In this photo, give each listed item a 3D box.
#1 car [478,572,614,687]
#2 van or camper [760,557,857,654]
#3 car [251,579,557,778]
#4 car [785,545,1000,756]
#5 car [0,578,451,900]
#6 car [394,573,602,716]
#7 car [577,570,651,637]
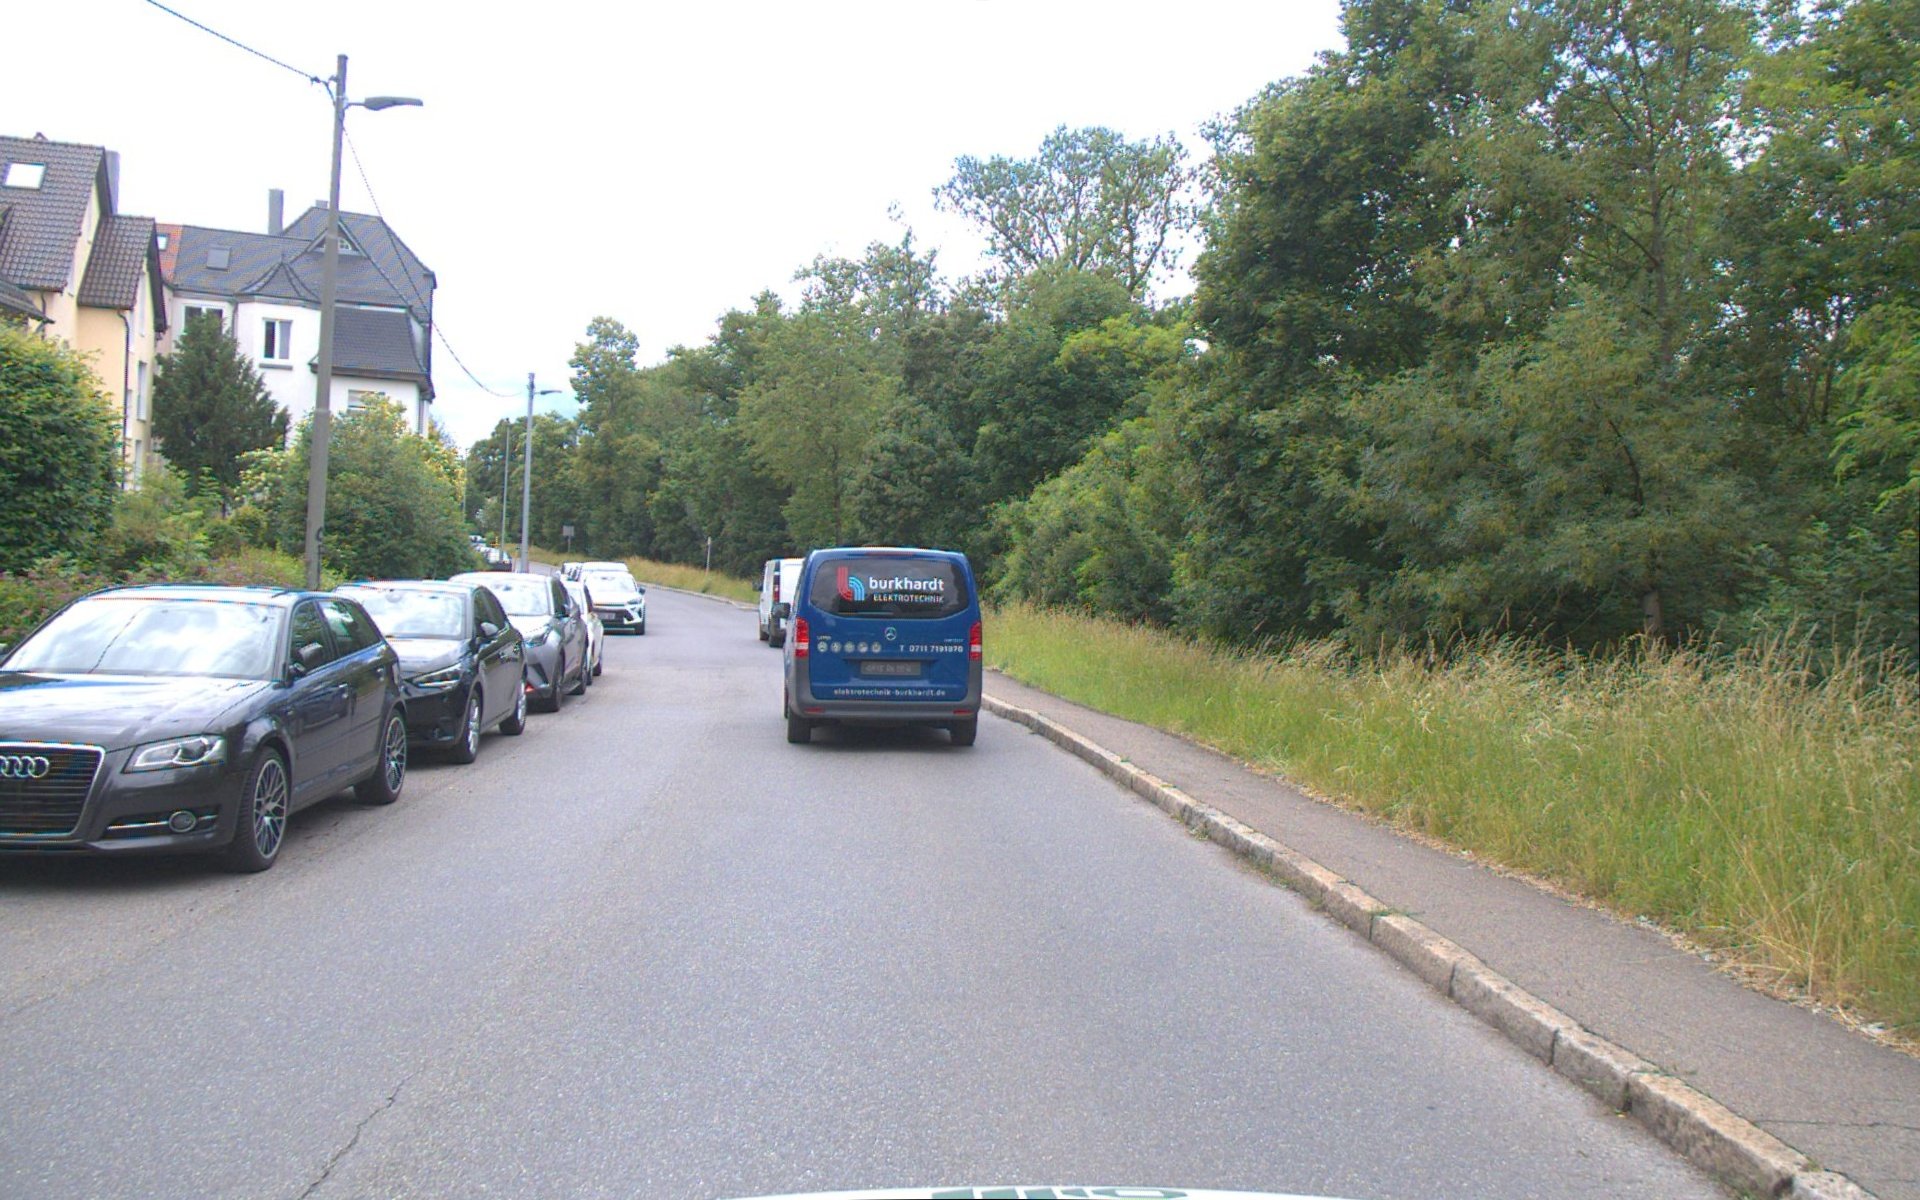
[{"bbox_3d":[-6.107,0.384,24.748,1.593,1.506,3.919,3,0,-10],"label":"car"},{"bbox_3d":[-3.561,0.073,38.116,1.981,1.991,4.889,3,1,-7],"label":"van or camper"},{"bbox_3d":[-4.735,0.580,14.698,1.617,1.467,4.327,2,0,-6],"label":"car"},{"bbox_3d":[-0.832,0.398,17.157,1.877,1.869,4.288,1,2,-7],"label":"car"},{"bbox_3d":[-4.387,0.617,9.761,1.701,1.443,4.499,1,0,-5],"label":"car"},{"bbox_3d":[-5.472,0.463,20.072,1.727,1.506,4.122,2,0,-6],"label":"car"},{"bbox_3d":[-8.874,0.064,42.478,1.694,1.518,4.400,4,0,-12],"label":"car"}]
